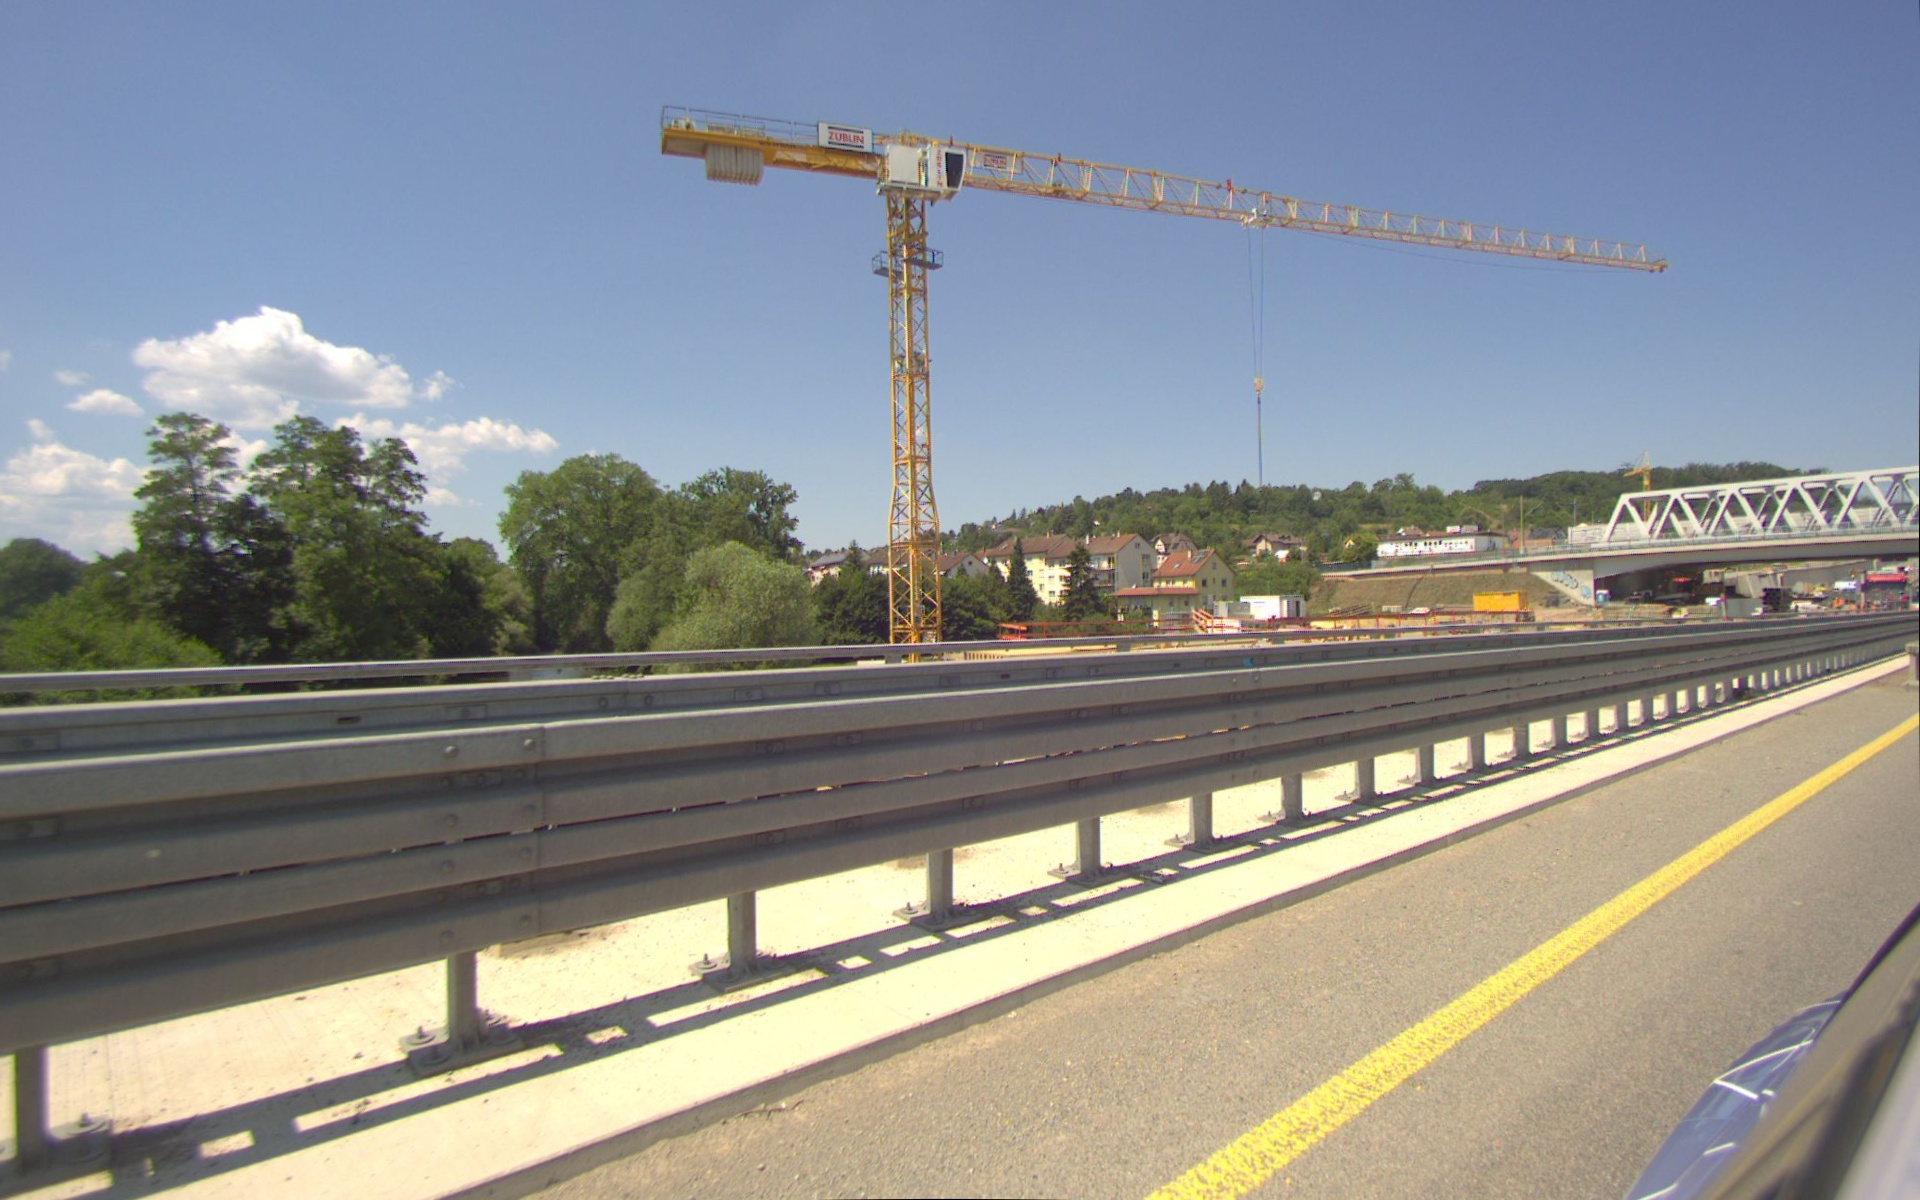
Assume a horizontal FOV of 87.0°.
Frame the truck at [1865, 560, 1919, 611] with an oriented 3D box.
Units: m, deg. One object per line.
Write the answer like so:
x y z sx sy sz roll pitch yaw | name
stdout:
73.972 -1.152 80.445 2.693 3.772 8.384 2 2 40 | truck
